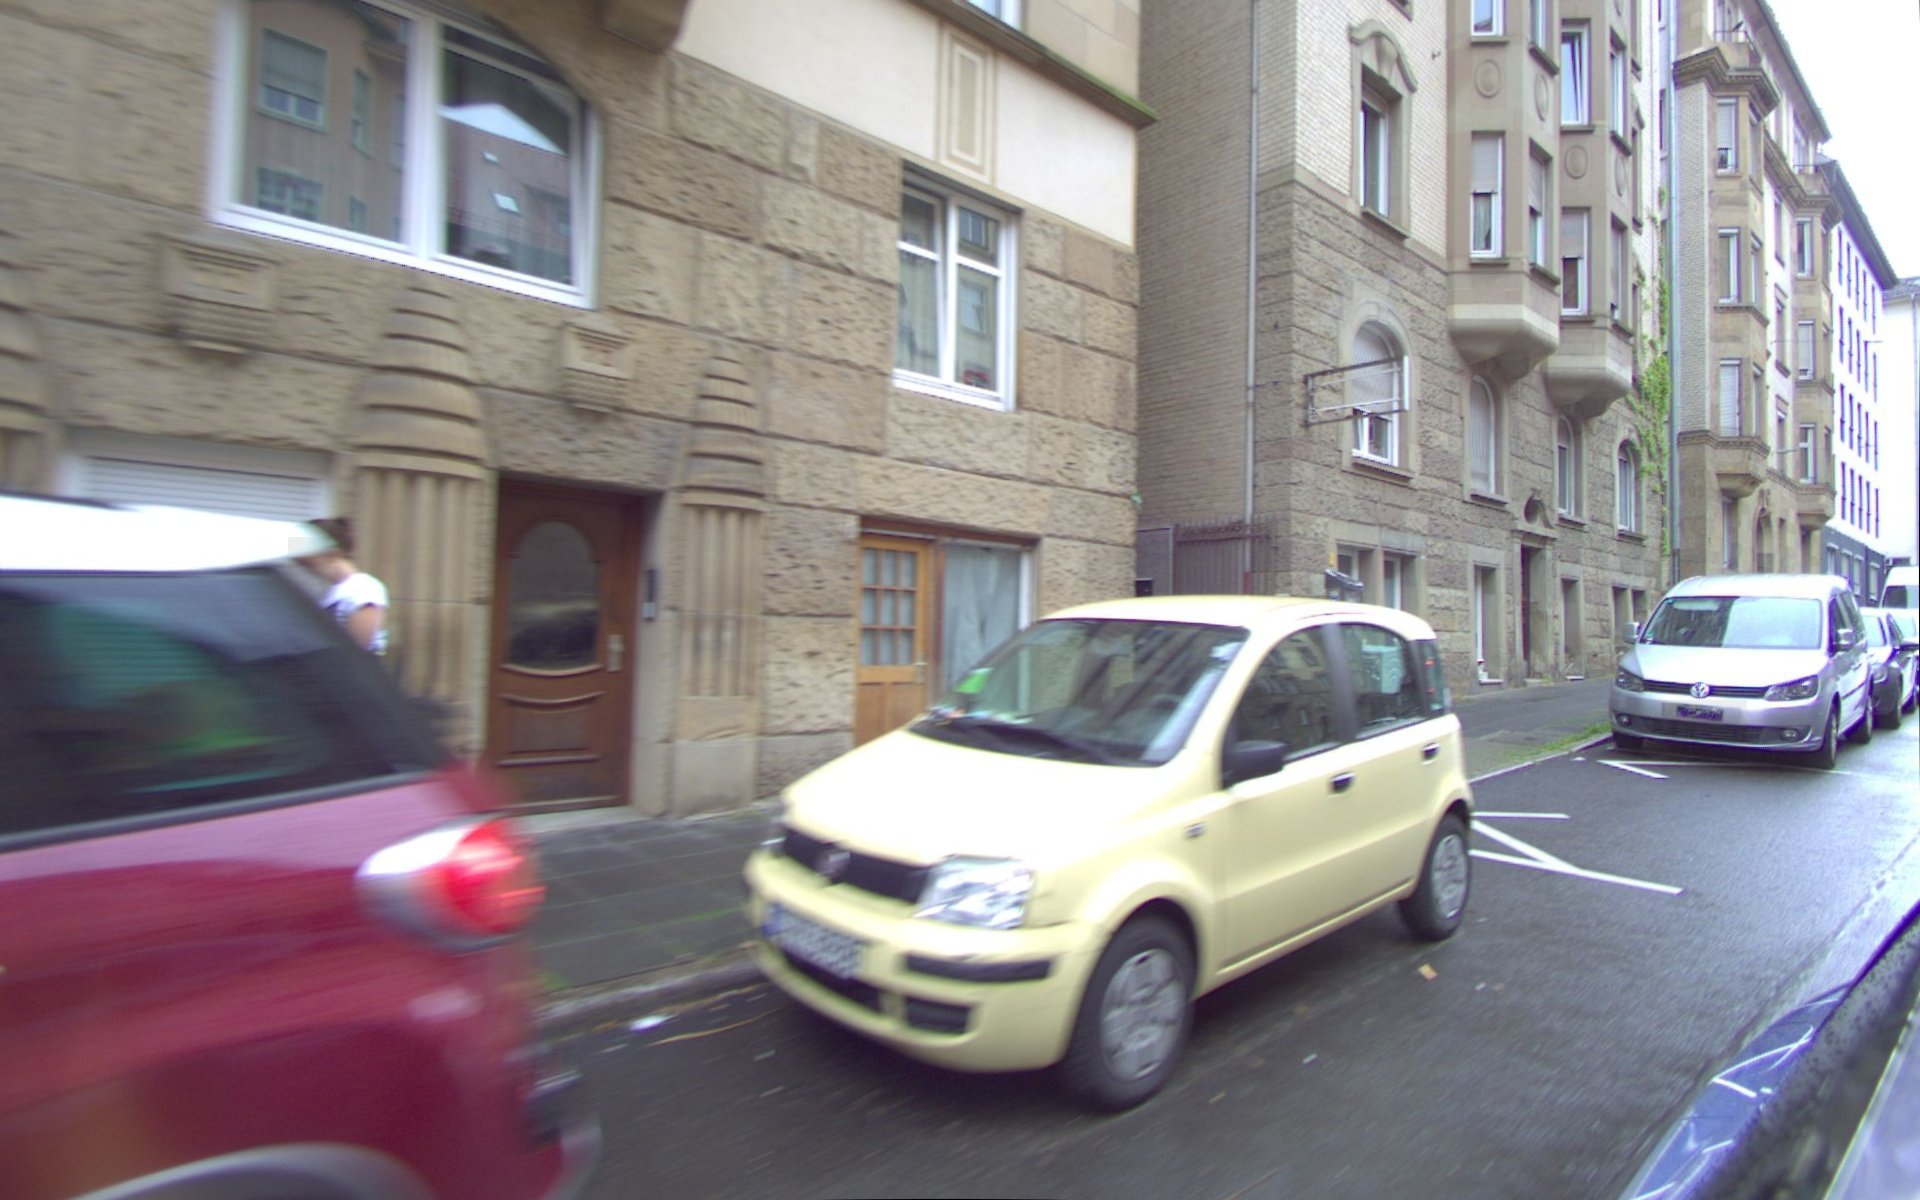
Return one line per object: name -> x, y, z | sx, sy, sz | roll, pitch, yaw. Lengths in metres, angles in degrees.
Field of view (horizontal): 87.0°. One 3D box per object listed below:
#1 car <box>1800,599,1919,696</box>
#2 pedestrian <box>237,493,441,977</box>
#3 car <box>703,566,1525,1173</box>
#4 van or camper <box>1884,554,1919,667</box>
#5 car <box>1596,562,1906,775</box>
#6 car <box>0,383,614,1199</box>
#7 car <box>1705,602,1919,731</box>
car -> 15.374, 0.726, 16.764 | 3.931, 1.429, 1.678 | 1, -1, -42
pedestrian -> -2.593, 0.490, 4.203 | 0.598, 1.755, 0.863 | 1, -1, -40
car -> 0.842, 0.684, 4.226 | 3.399, 1.497, 1.561 | 0, -1, -41
van or camper -> 23.820, 0.213, 24.047 | 6.011, 2.500, 2.068 | 0, 0, -41
car -> 8.418, 0.579, 10.631 | 4.284, 1.799, 1.778 | 1, 0, -41
car -> -2.584, 0.573, 0.965 | 3.933, 1.649, 1.712 | 1, -1, -43
car -> 11.890, 0.777, 13.847 | 3.931, 1.459, 1.996 | 0, 1, -42
